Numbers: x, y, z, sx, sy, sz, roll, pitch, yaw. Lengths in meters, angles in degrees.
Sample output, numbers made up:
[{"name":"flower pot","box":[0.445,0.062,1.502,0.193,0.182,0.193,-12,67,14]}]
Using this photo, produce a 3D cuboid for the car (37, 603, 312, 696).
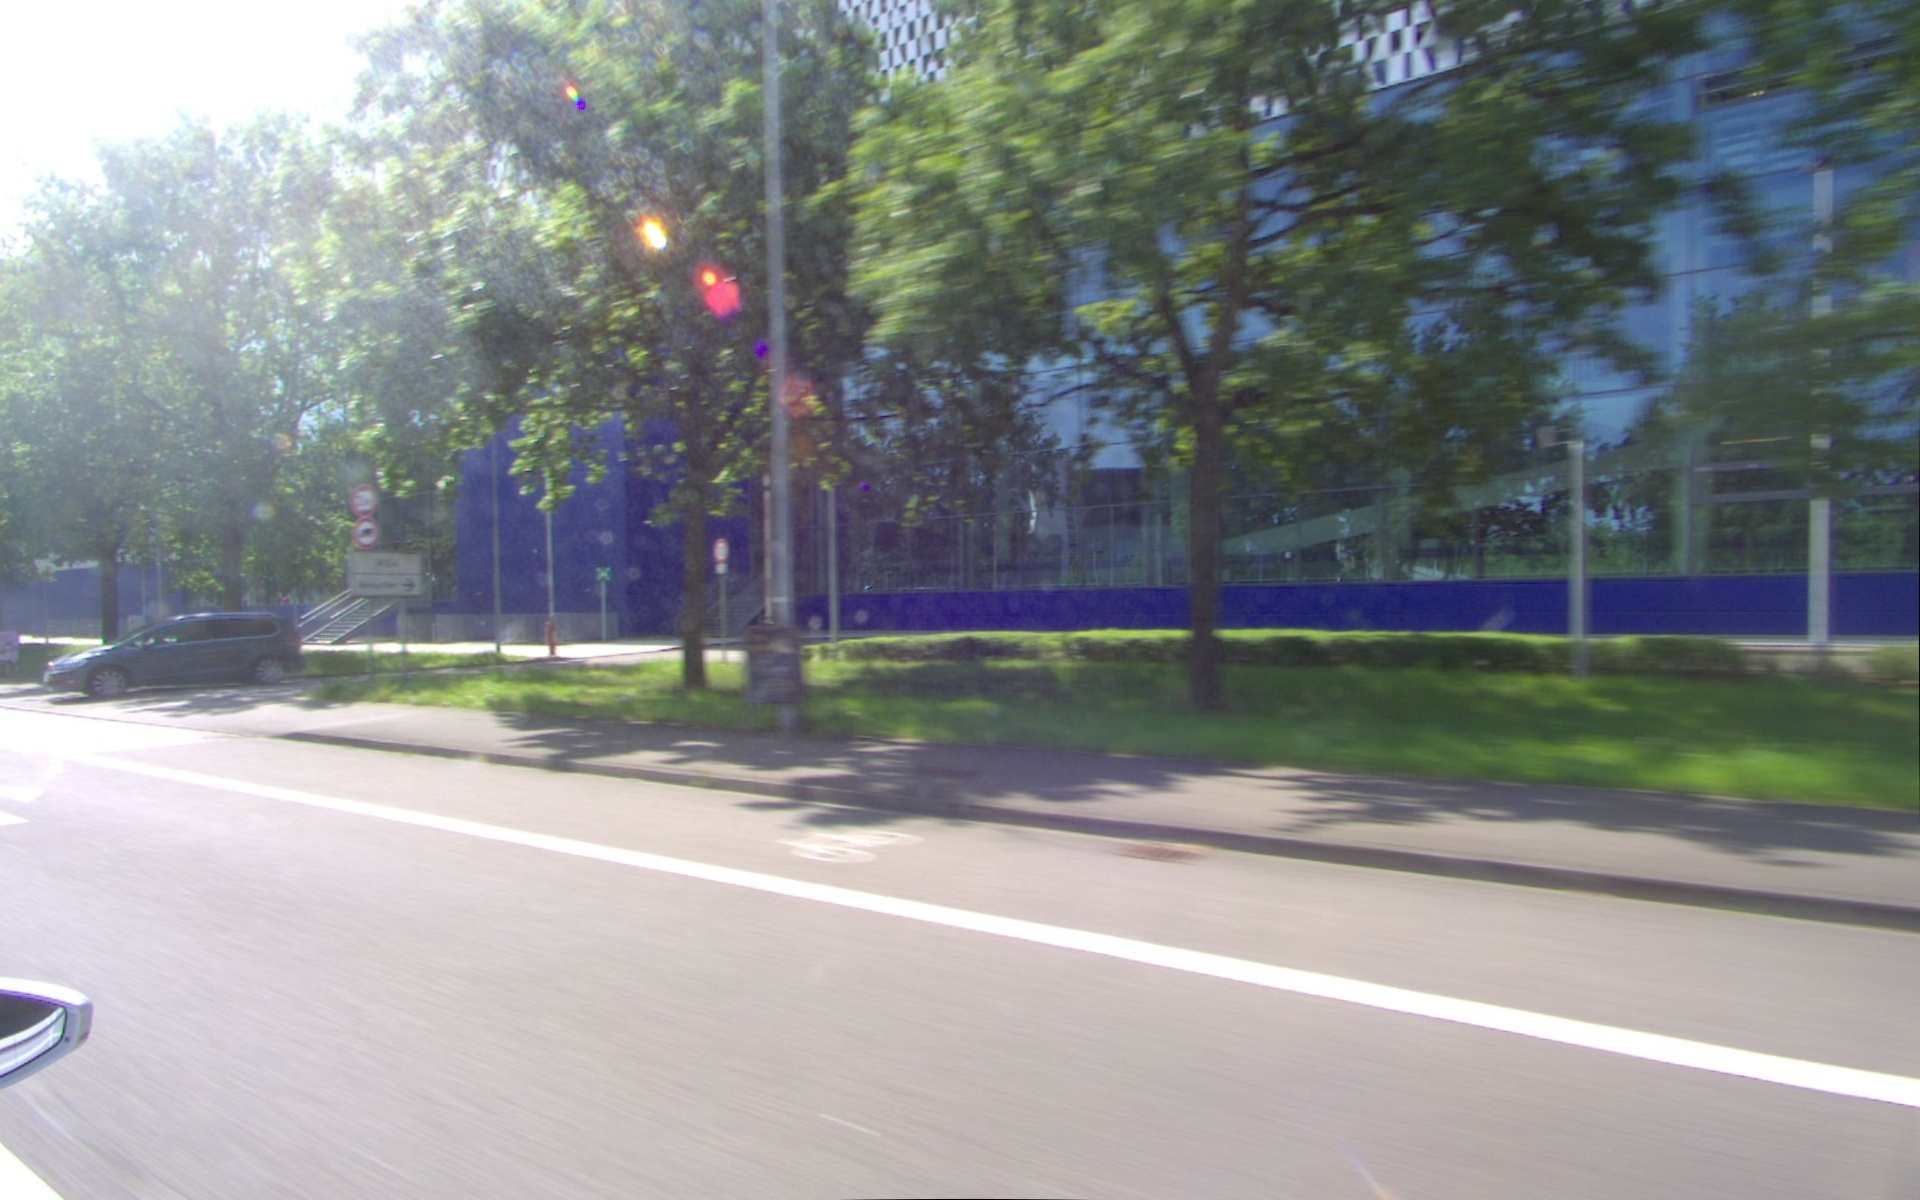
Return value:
[{"name":"car","box":[-17.040,0.993,21.936,1.822,1.716,4.424,-1,1,39]}]
